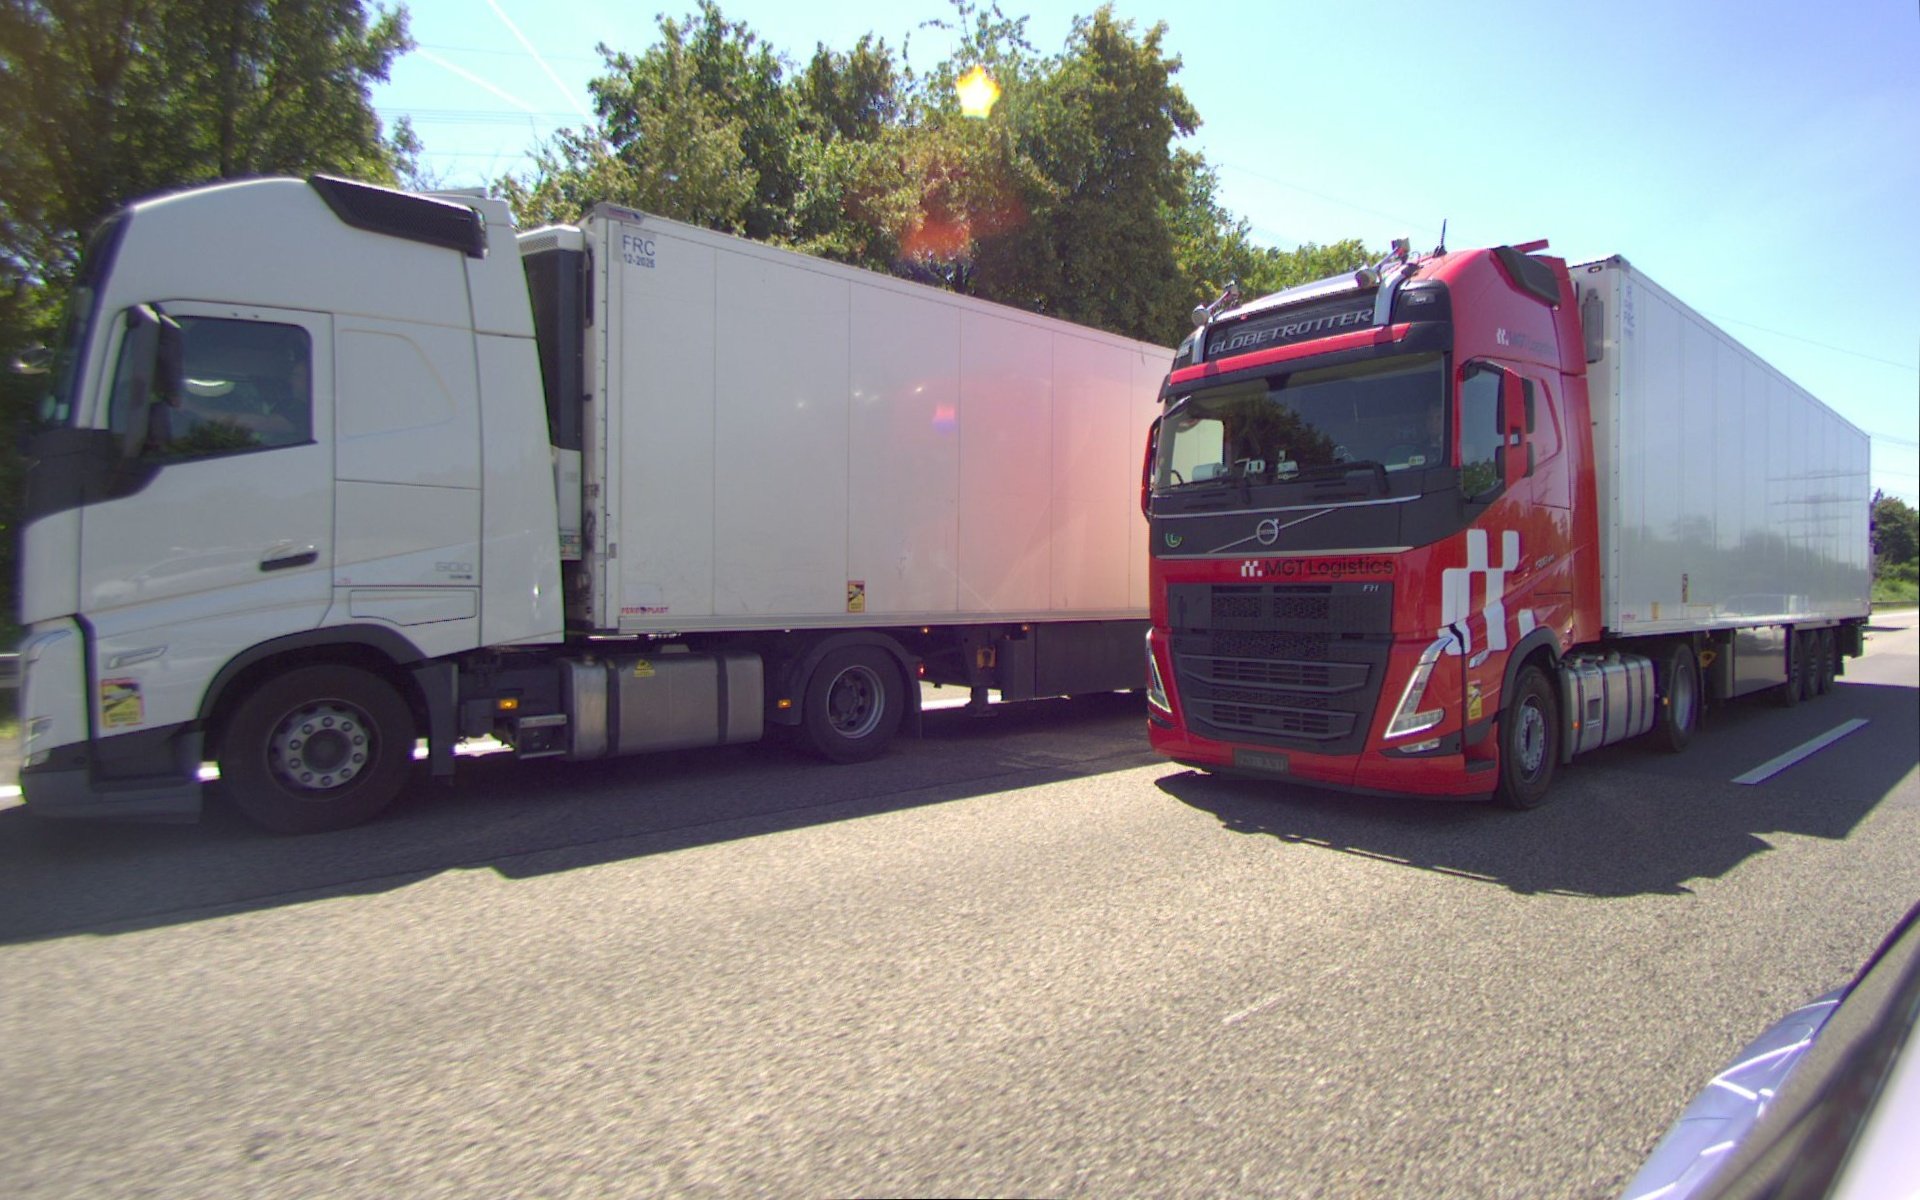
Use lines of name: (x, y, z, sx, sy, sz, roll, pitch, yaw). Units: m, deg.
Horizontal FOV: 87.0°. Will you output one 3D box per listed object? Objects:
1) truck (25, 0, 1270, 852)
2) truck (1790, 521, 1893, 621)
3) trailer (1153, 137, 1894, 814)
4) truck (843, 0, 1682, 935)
truck: (-1.413, -0.915, 9.596, 10.784, 4.144, 3.031, -1, 1, -40)
truck: (37.372, -1.152, 42.761, 9.869, 3.819, 1.985, 0, 1, -42)
trailer: (8.490, -0.845, 12.499, 15.921, 4.068, 2.942, -1, 1, -42)
truck: (2.480, -0.746, 7.087, 5.996, 4.036, 2.945, -1, 1, -42)
